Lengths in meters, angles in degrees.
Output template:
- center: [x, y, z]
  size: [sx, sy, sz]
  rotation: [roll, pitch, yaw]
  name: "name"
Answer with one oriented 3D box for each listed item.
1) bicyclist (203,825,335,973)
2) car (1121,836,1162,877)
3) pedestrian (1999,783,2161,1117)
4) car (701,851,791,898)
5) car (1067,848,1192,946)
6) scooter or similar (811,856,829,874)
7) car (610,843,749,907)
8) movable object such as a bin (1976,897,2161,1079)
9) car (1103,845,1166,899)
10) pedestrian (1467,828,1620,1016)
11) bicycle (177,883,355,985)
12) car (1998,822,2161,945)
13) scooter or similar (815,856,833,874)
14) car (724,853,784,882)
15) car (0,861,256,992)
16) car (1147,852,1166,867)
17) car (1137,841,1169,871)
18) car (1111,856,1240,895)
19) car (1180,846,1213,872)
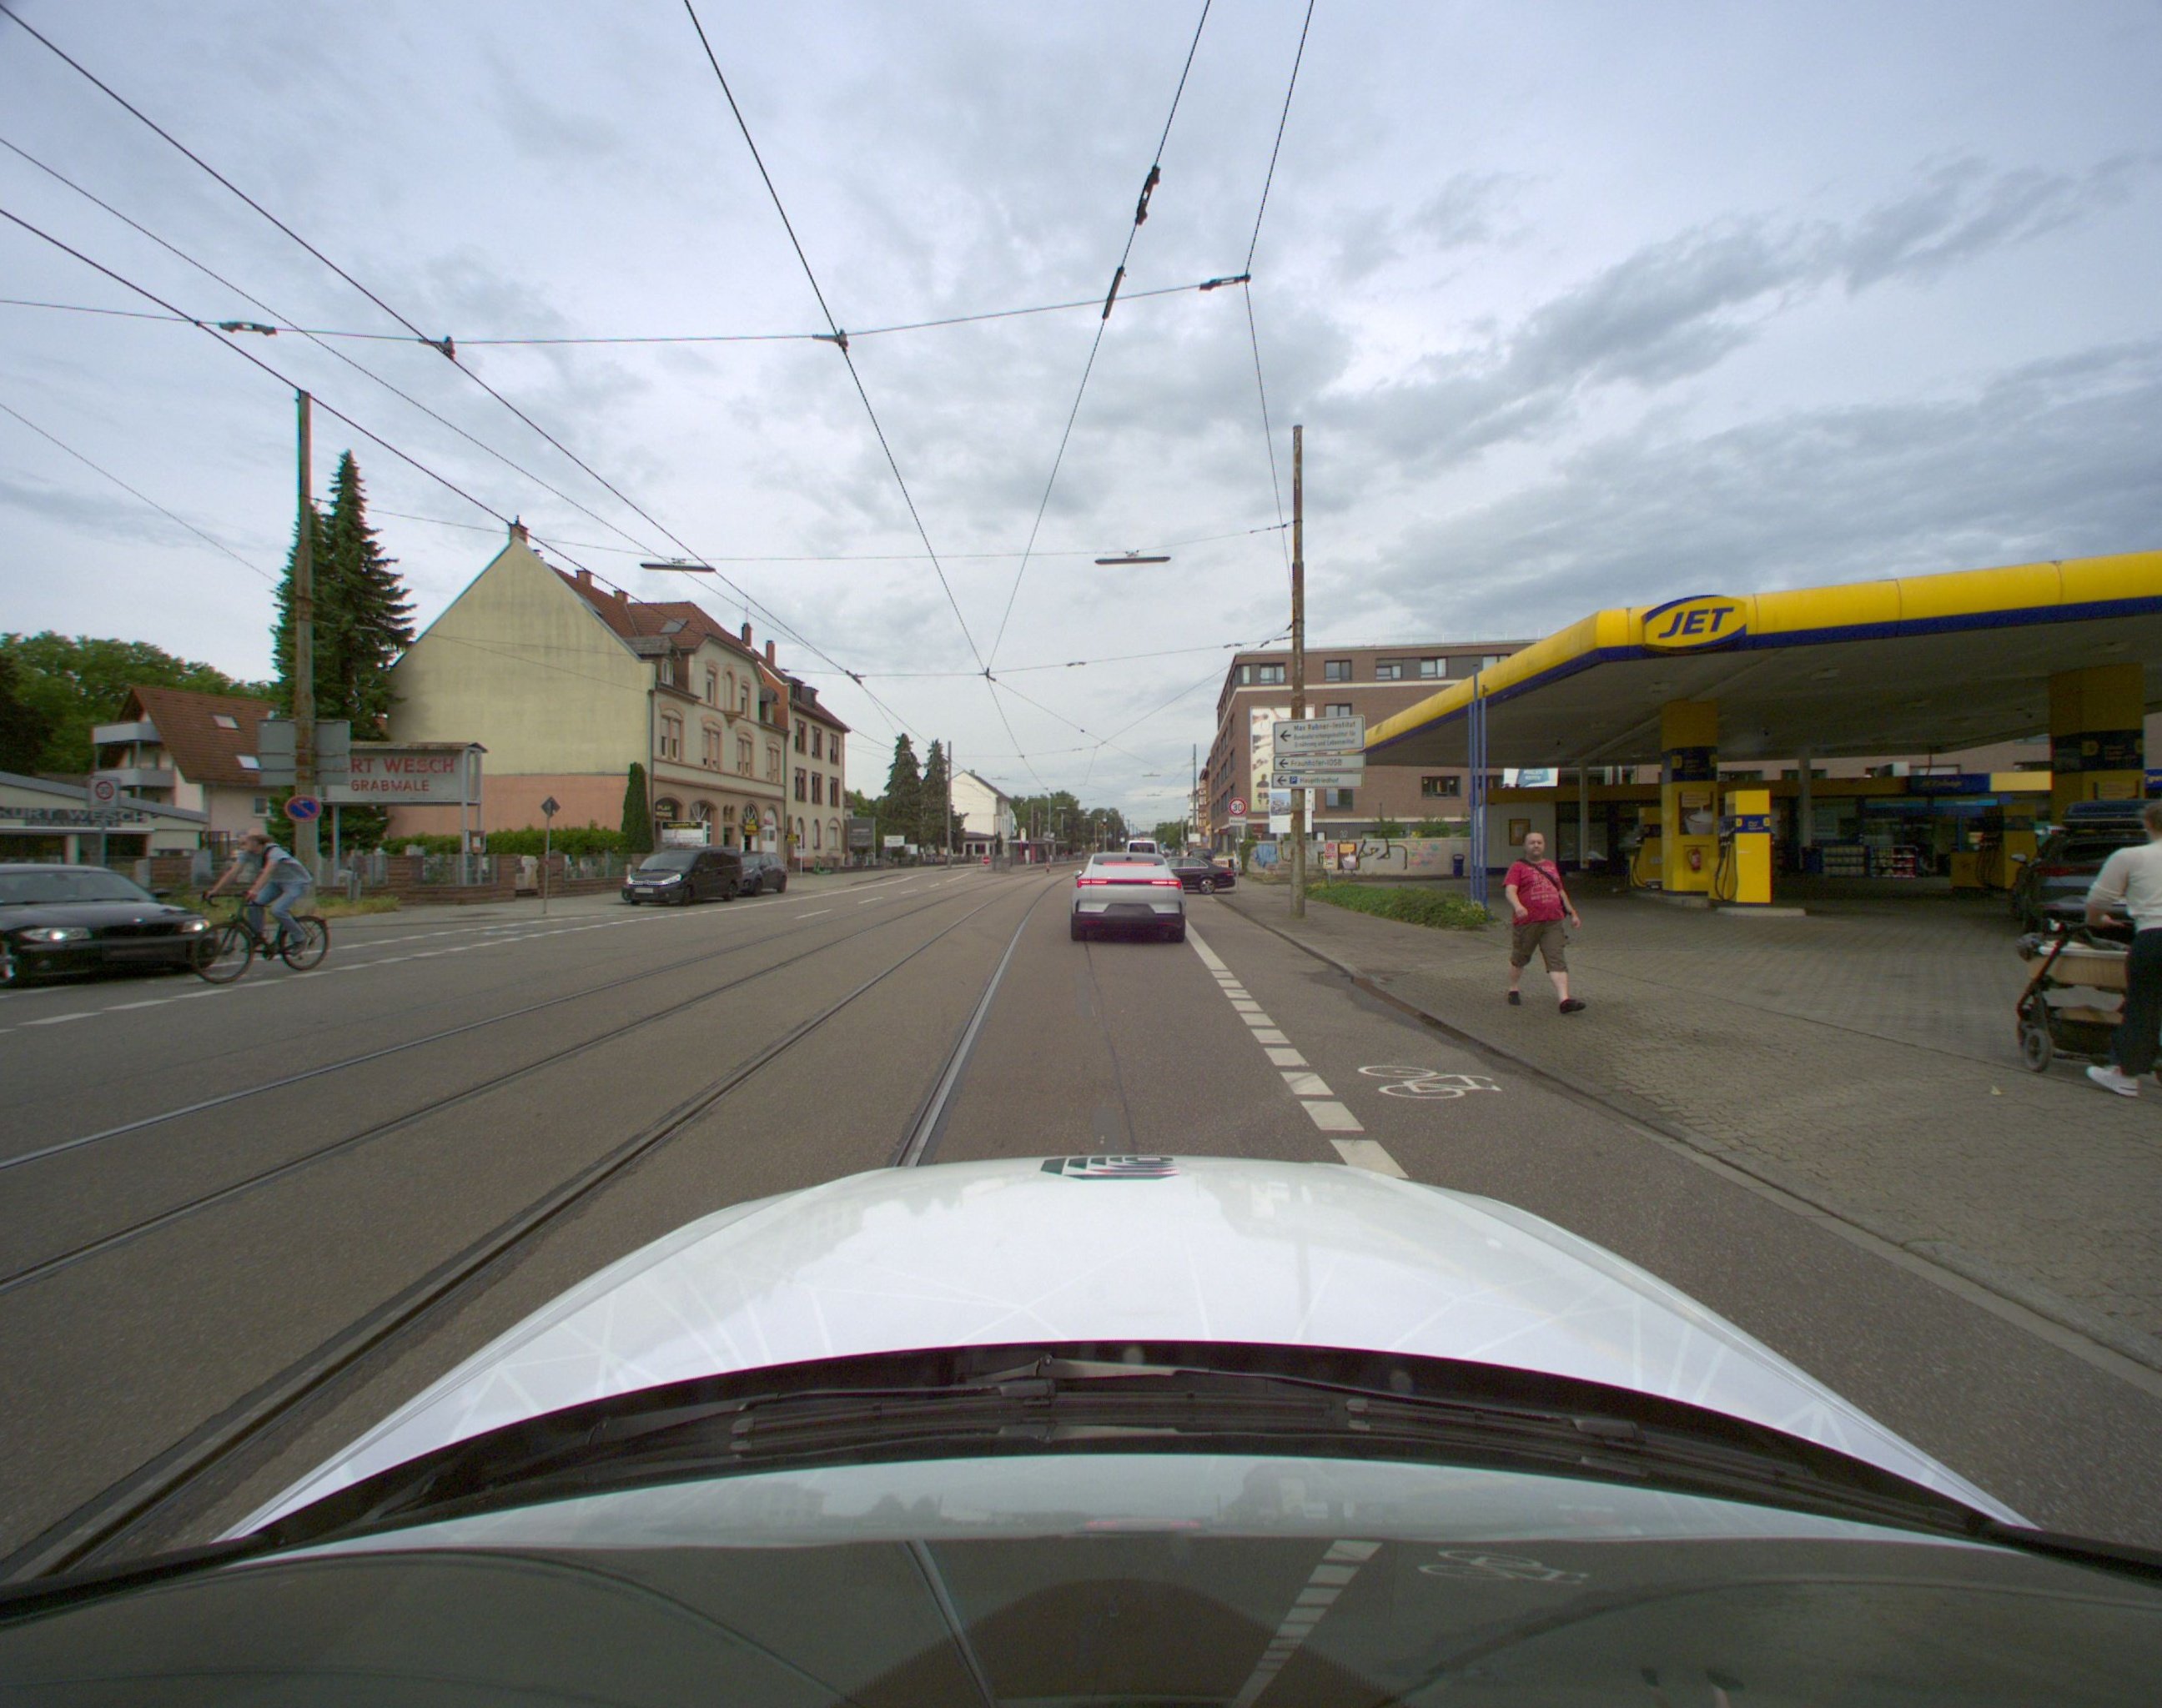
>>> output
- center: [-10.165, 0.534, 10.241]
  size: [0.736, 1.749, 0.975]
  rotation: [-1, 0, -12]
  name: "bicyclist"
- center: [3.719, 0.163, 50.967]
  size: [2.209, 2.423, 4.951]
  rotation: [1, -1, 1]
  name: "car"
- center: [6.181, 0.504, 4.824]
  size: [0.760, 1.797, 1.169]
  rotation: [-4, -1, 41]
  name: "pedestrian"
- center: [-13.374, 0.797, 32.834]
  size: [1.838, 1.718, 4.192]
  rotation: [1, -1, 0]
  name: "car"
- center: [0.754, 0.697, 15.306]
  size: [1.976, 1.550, 4.181]
  rotation: [1, 0, -2]
  name: "car"
- center: [-17.151, 0.725, 53.548]
  size: [1.056, 1.188, 0.315]
  rotation: [2, -1, -34]
  name: "scooter or similar"
- center: [-13.107, 0.662, 27.015]
  size: [1.985, 1.887, 4.999]
  rotation: [1, -1, 1]
  name: "car"
- center: [6.752, 0.854, 5.526]
  size: [0.760, 1.039, 1.030]
  rotation: [-4, -1, 41]
  name: "movable object such as a bin"
- center: [1.834, 0.619, 28.851]
  size: [1.962, 1.756, 3.837]
  rotation: [1, -1, 0]
  name: "car"
- center: [4.564, 0.644, 8.115]
  size: [0.968, 1.738, 0.861]
  rotation: [-2, -1, 1]
  name: "pedestrian"
- center: [-10.159, 0.943, 10.260]
  size: [0.587, 1.074, 1.949]
  rotation: [-1, 0, -12]
  name: "bicycle"
- center: [15.015, 0.325, 11.881]
  size: [4.348, 1.497, 1.973]
  rotation: [-2, 1, -39]
  name: "car"
- center: [-16.771, 0.726, 53.090]
  size: [1.056, 1.188, 0.315]
  rotation: [2, -1, -34]
  name: "scooter or similar"
- center: [-17.835, 0.705, 44.592]
  size: [1.747, 1.500, 3.746]
  rotation: [1, -1, 0]
  name: "car"
- center: [-12.821, 0.802, 10.311]
  size: [3.887, 1.388, 1.811]
  rotation: [0, 0, 19]
  name: "car"
- center: [10.310, 0.707, 111.484]
  size: [1.988, 2.014, 3.997]
  rotation: [1, -1, -2]
  name: "car"
- center: [5.367, 0.164, 61.234]
  size: [2.131, 2.145, 4.745]
  rotation: [1, -1, 2]
  name: "car"
- center: [3.690, 0.824, 32.421]
  size: [4.857, 1.427, 1.951]
  rotation: [0, 0, -2]
  name: "car"
- center: [8.388, 0.349, 59.361]
  size: [1.867, 1.823, 4.097]
  rotation: [1, -1, 1]
  name: "car"
